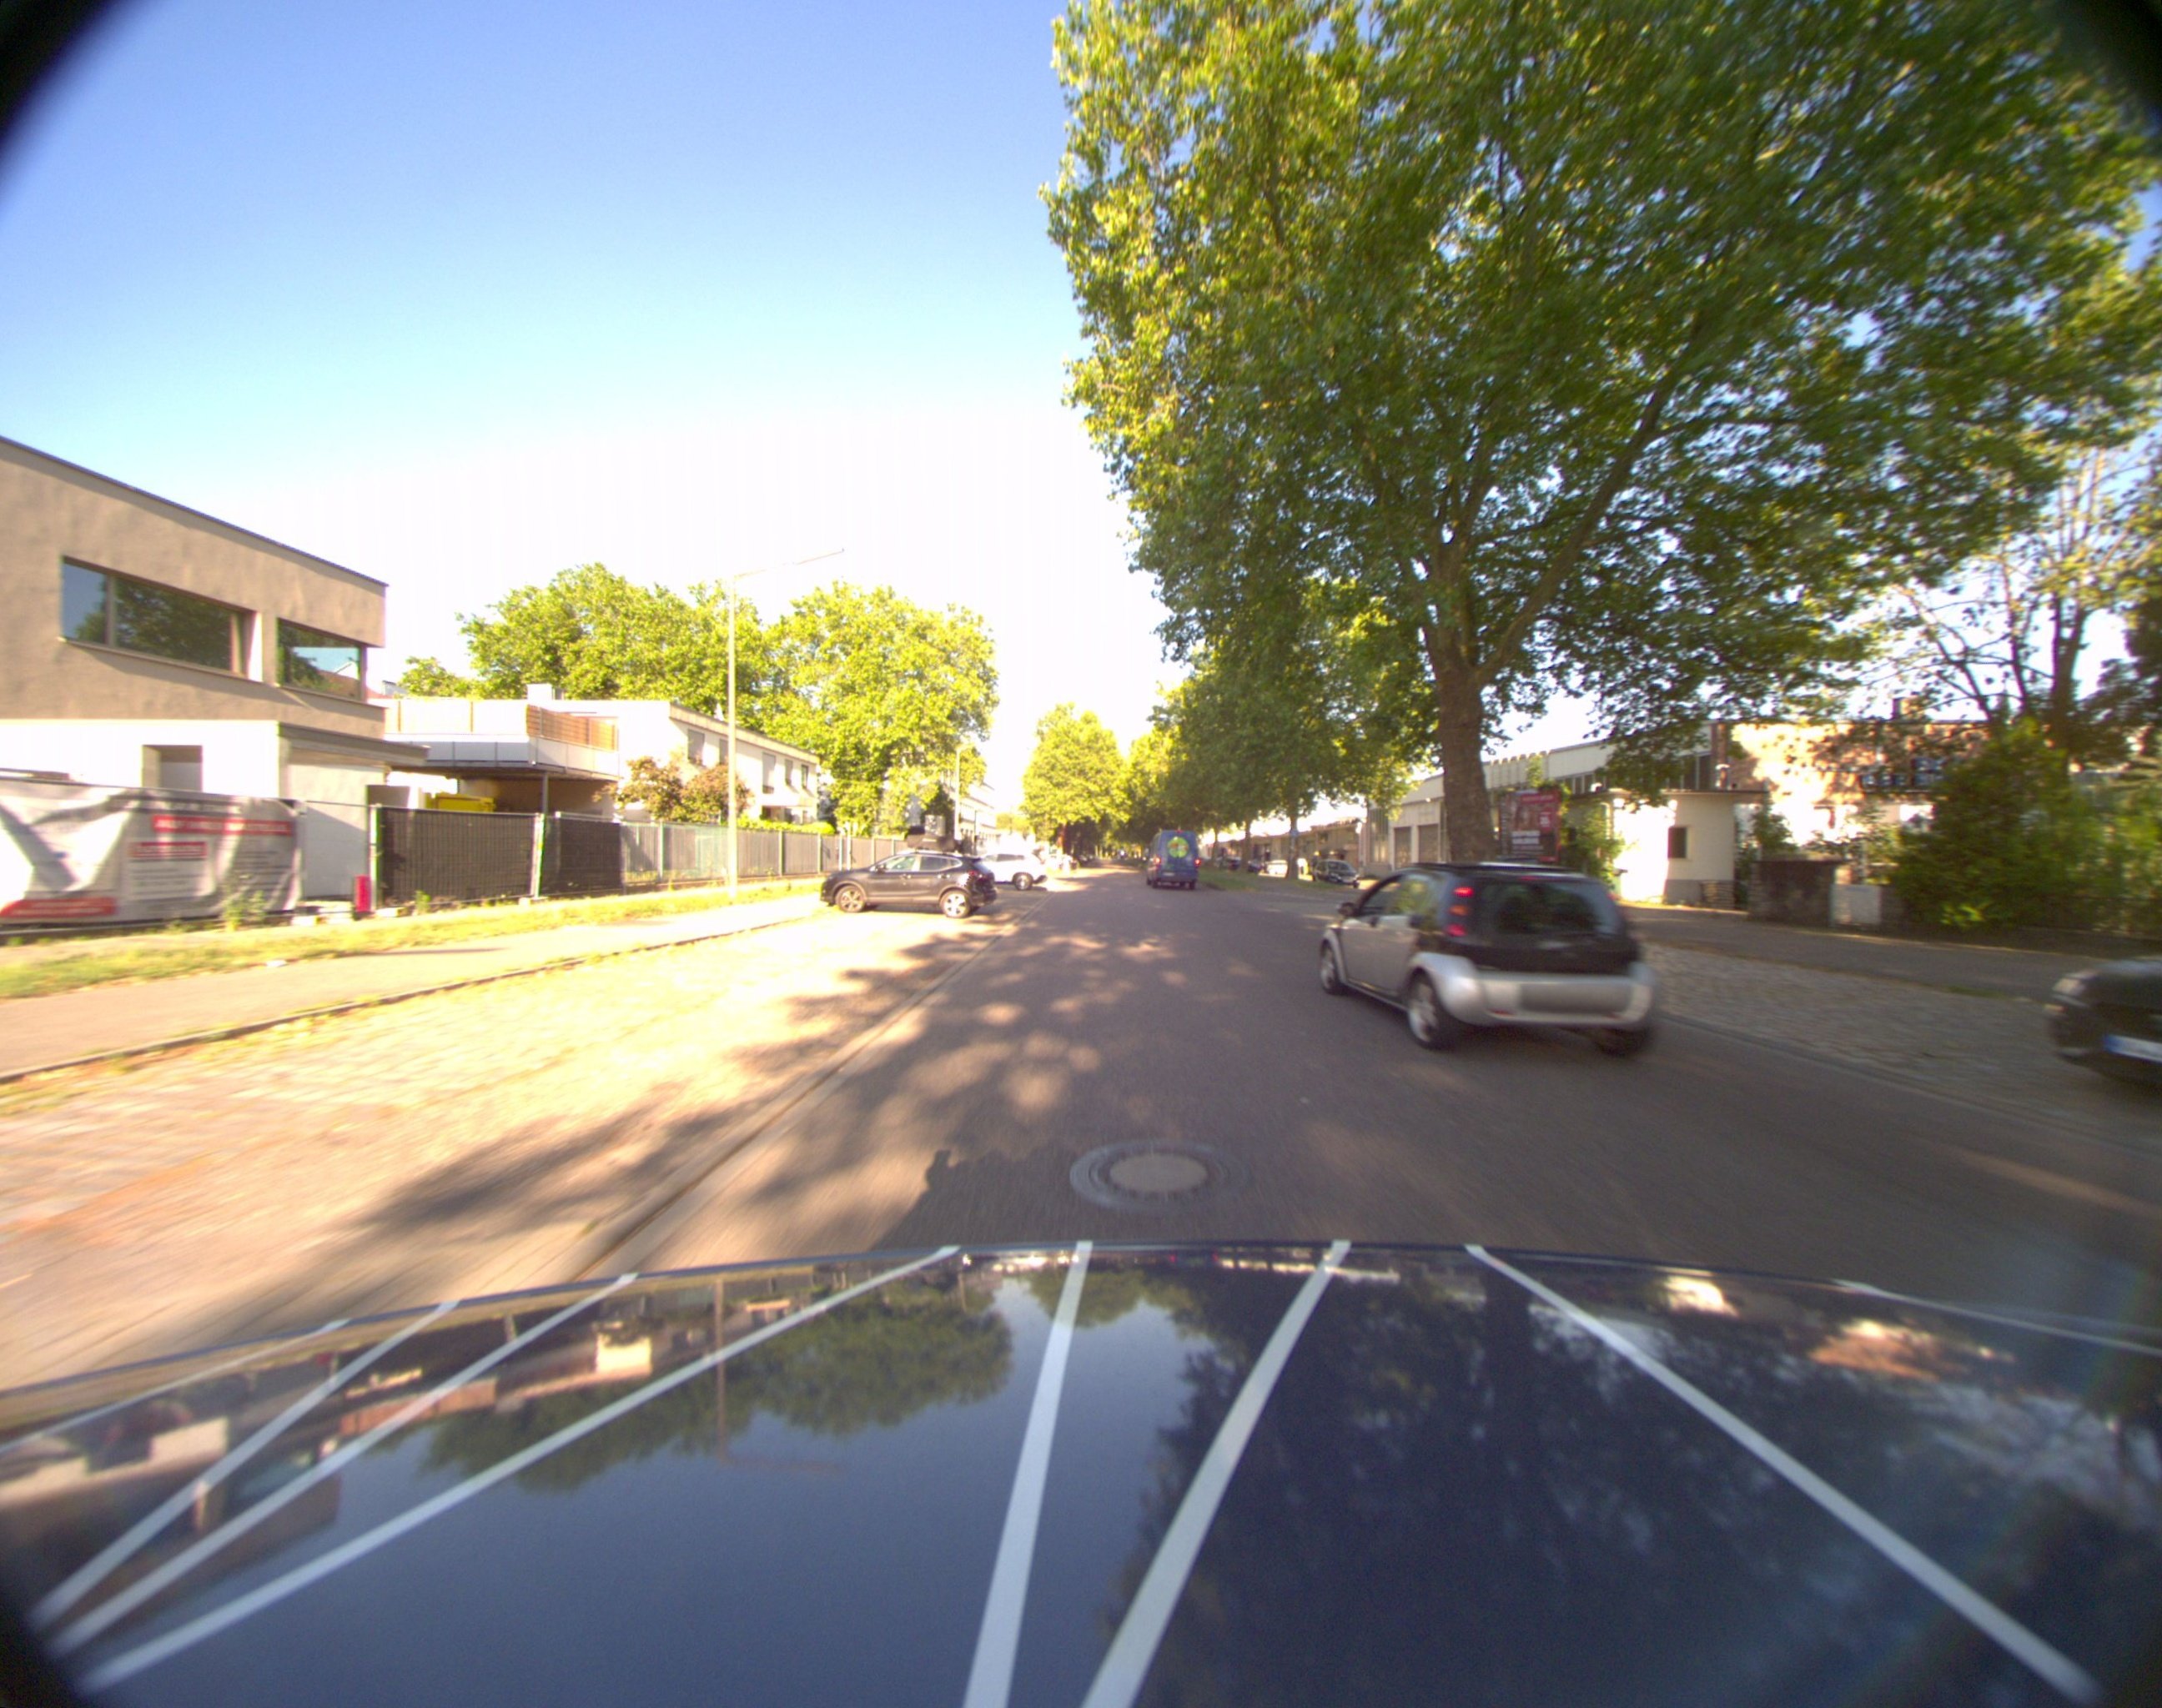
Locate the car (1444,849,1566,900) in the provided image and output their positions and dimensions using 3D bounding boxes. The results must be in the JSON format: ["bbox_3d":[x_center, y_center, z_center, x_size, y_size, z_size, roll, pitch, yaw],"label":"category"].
[{"bbox_3d":[14.481,0.640,26.265,1.998,1.567,4.273,-1,1,3],"label":"car"}]

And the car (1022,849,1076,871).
[{"bbox_3d":[-2.803,0.515,67.180,4.582,1.706,1.943,3,1,-2],"label":"car"}]

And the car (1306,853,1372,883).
[{"bbox_3d":[13.960,0.728,41.380,1.999,1.362,3.919,5,0,-3],"label":"car"}]

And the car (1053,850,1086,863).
[{"bbox_3d":[-1.575,0.354,103.522,4.295,1.477,1.860,4,1,0],"label":"car"}]

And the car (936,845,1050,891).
[{"bbox_3d":[-3.752,0.581,33.047,4.636,1.702,2.000,3,1,0],"label":"car"}]

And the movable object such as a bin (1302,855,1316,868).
[{"bbox_3d":[26.057,0.881,86.865,1.059,1.423,1.573,-1,1,-1],"label":"movable object such as a bin"}]

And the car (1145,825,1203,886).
[{"bbox_3d":[4.426,0.080,37.161,2.133,2.644,7.002,1,0,1],"label":"car"}]

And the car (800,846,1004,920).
[{"bbox_3d":[-4.409,0.686,19.321,4.636,1.518,2.000,3,1,0],"label":"car"}]

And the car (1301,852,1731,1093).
[{"bbox_3d":[3.546,0.818,7.146,1.843,1.562,3.802,2,1,1],"label":"car"}]

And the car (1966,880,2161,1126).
[{"bbox_3d":[8.553,0.897,4.491,4.365,1.414,2.000,0,0,-1],"label":"car"}]

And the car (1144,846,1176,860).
[{"bbox_3d":[18.699,-0.133,179.304,6.972,2.835,2.596,4,-1,-27],"label":"car"}]

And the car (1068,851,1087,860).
[{"bbox_3d":[-0.714,0.290,158.040,3.943,1.504,1.667,3,1,1],"label":"car"}]

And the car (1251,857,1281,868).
[{"bbox_3d":[23.457,1.053,96.381,3.288,1.398,1.712,0,1,40],"label":"car"}]
